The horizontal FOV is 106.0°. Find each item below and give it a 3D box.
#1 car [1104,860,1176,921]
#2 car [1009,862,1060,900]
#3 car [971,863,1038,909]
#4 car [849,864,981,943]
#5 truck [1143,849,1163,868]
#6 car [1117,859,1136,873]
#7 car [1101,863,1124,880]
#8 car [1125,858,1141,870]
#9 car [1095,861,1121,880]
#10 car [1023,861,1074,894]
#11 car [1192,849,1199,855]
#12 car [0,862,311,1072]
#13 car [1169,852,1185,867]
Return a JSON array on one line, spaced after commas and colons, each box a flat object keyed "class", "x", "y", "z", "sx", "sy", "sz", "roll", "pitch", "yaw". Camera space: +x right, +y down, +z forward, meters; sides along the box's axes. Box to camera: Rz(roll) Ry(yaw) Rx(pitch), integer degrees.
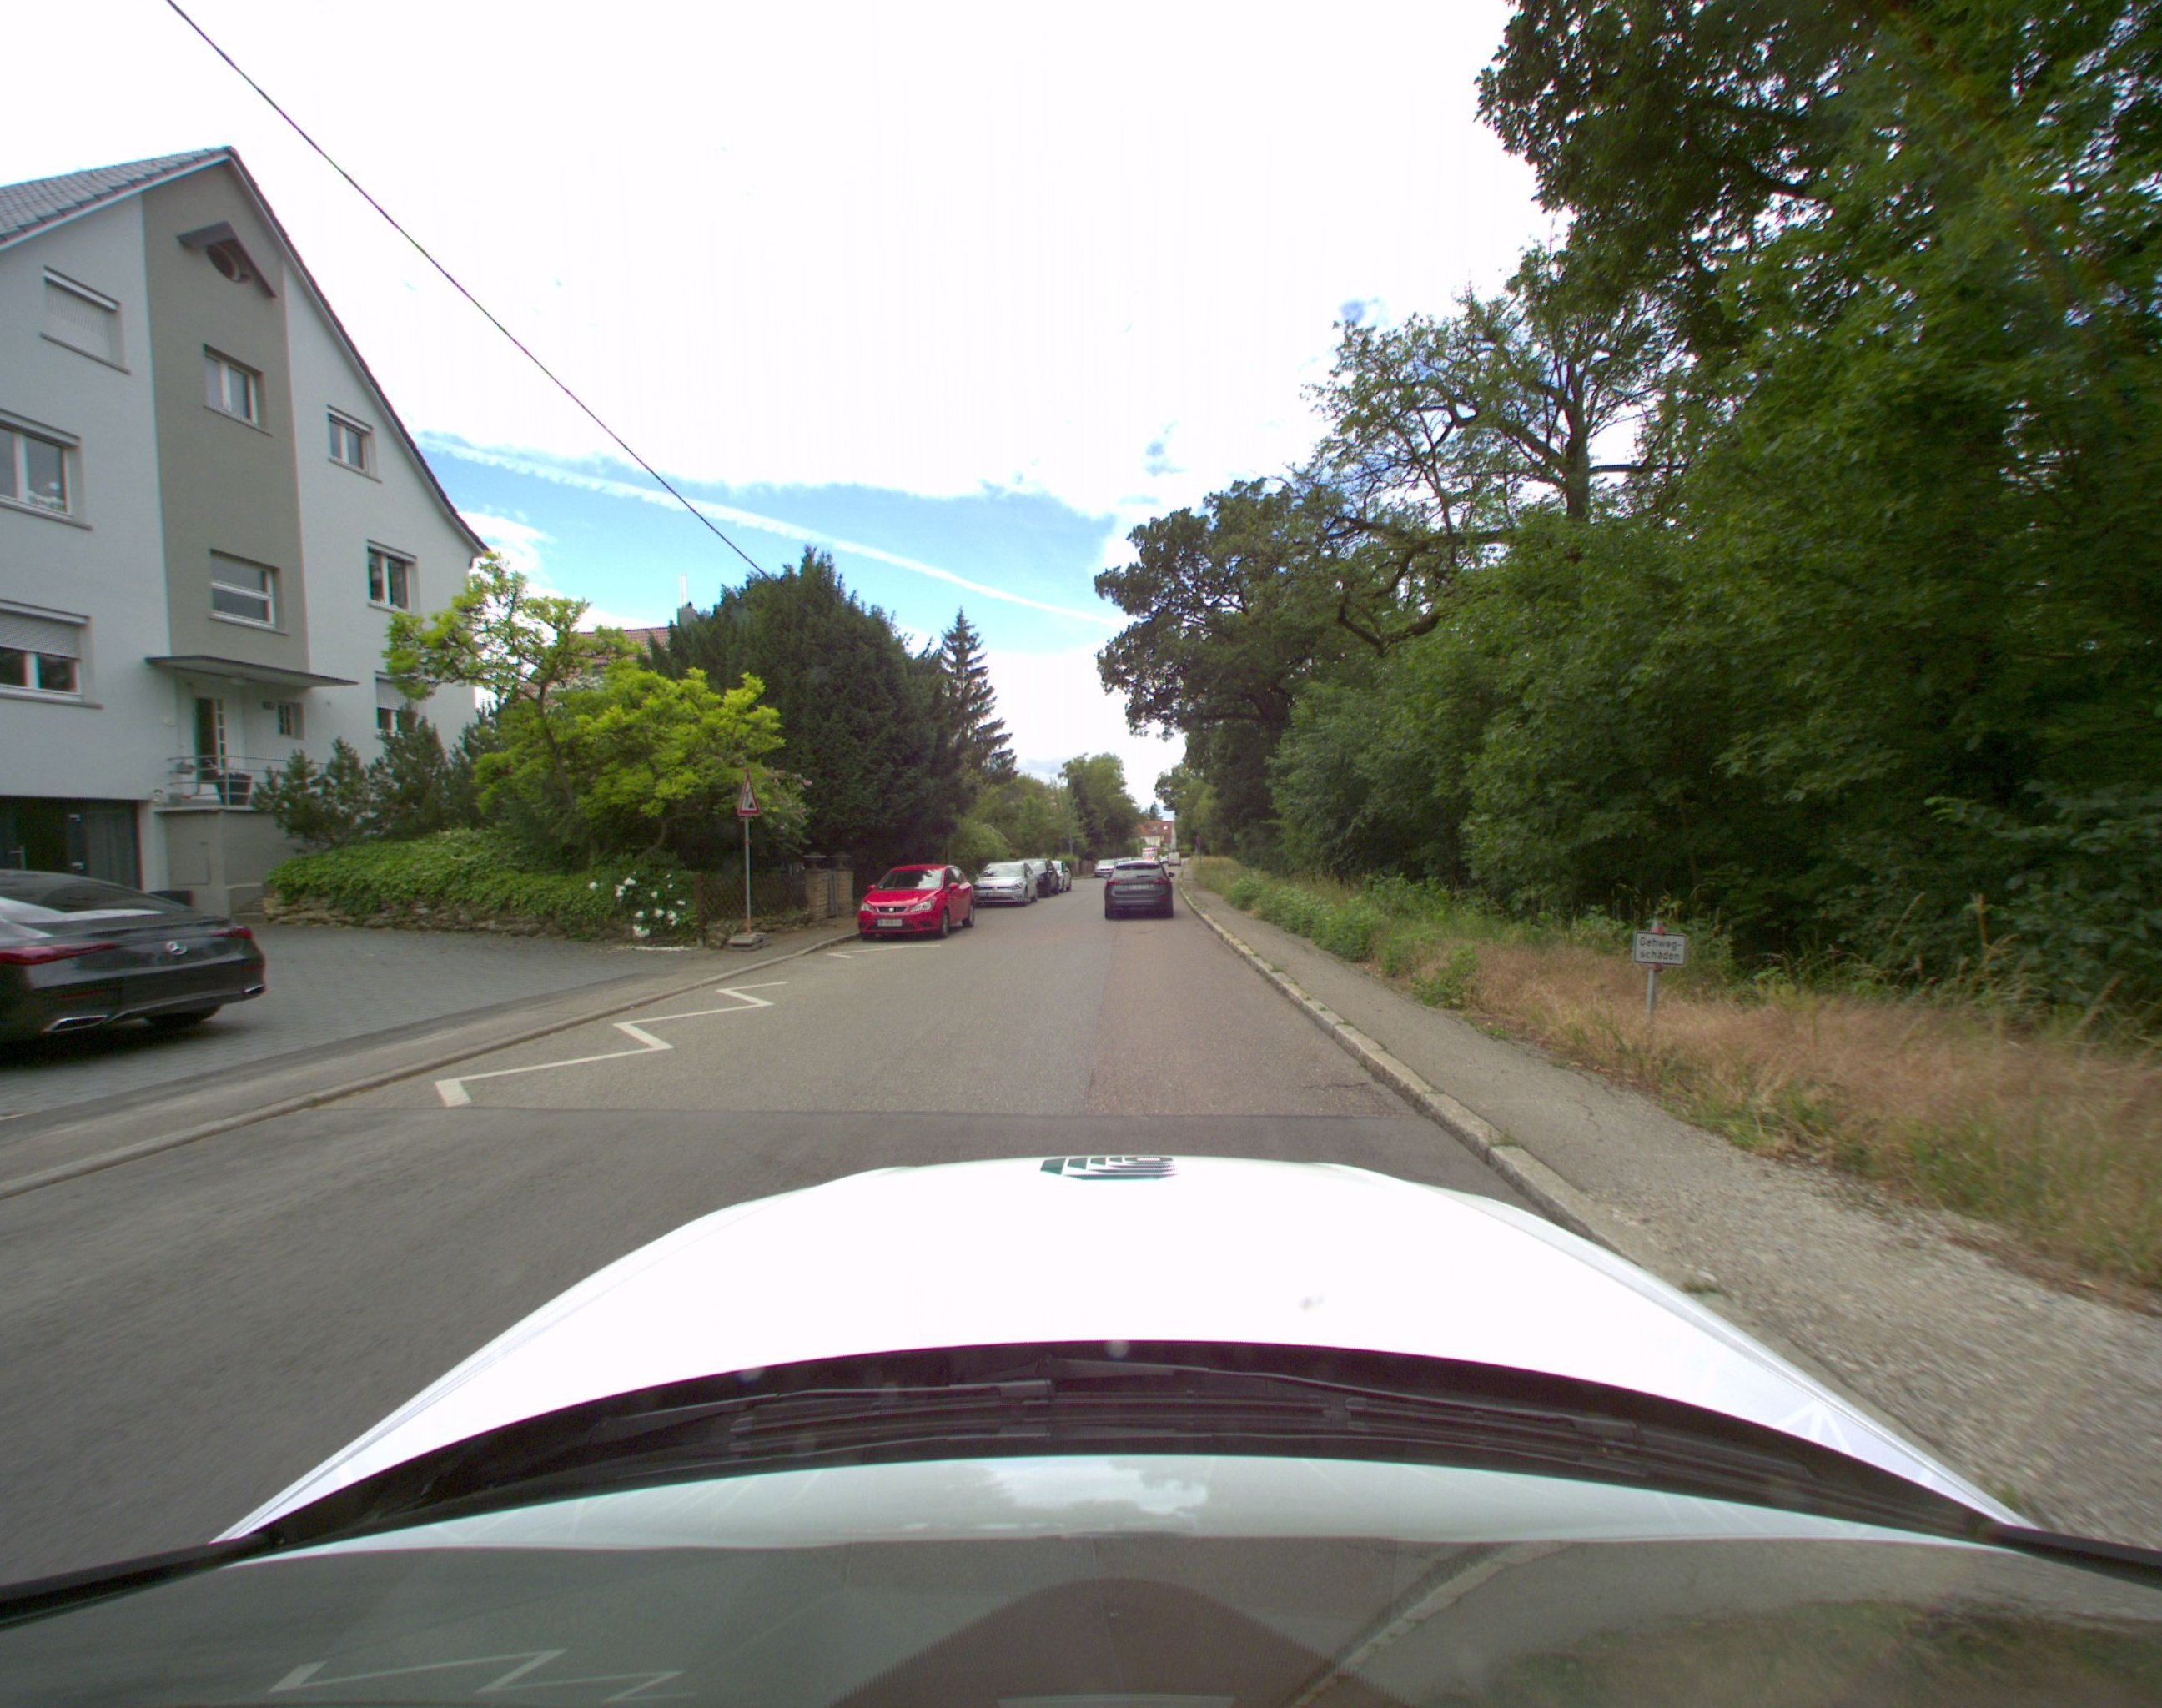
[{"class": "car", "x": 1.478, "y": 0.892, "z": 21.609, "sx": 1.728, "sy": 1.447, "sz": 4.182, "roll": 0, "pitch": 0, "yaw": 2}, {"class": "car", "x": -1.836, "y": 1.063, "z": 33.340, "sx": 1.742, "sy": 1.404, "sz": 4.002, "roll": 0, "pitch": 0, "yaw": 2}, {"class": "car", "x": -2.493, "y": 1.023, "z": 27.410, "sx": 1.742, "sy": 1.404, "sz": 4.002, "roll": 0, "pitch": 0, "yaw": 2}, {"class": "car", "x": -3.313, "y": 0.939, "z": 17.003, "sx": 1.627, "sy": 1.404, "sz": 4.005, "roll": 0, "pitch": 0, "yaw": 5}, {"class": "truck", "x": 11.162, "y": 0.675, "z": 125.441, "sx": 2.749, "sy": 2.793, "sz": 9.286, "roll": -1, "pitch": 0, "yaw": 7}, {"class": "car", "x": 4.737, "y": 1.205, "z": 84.535, "sx": 1.740, "sy": 1.404, "sz": 4.008, "roll": 0, "pitch": 0, "yaw": 7}, {"class": "car", "x": 2.786, "y": 1.482, "z": 71.674, "sx": 1.740, "sy": 1.404, "sz": 4.008, "roll": 0, "pitch": 0, "yaw": 7}, {"class": "car", "x": 6.100, "y": 1.184, "z": 95.195, "sx": 1.740, "sy": 1.404, "sz": 4.008, "roll": 0, "pitch": 0, "yaw": 7}, {"class": "car", "x": 2.165, "y": 1.287, "z": 65.378, "sx": 1.740, "sy": 1.404, "sz": 4.008, "roll": 0, "pitch": 0, "yaw": 7}, {"class": "car", "x": -1.442, "y": 1.060, "z": 37.743, "sx": 1.740, "sy": 1.404, "sz": 4.008, "roll": 0, "pitch": 0, "yaw": 7}, {"class": "car", "x": 28.944, "y": -0.401, "z": 206.016, "sx": 1.726, "sy": 1.447, "sz": 4.005, "roll": 0, "pitch": 0, "yaw": 5}, {"class": "car", "x": -9.417, "y": 0.811, "z": 6.715, "sx": 4.461, "sy": 1.441, "sz": 1.880, "roll": 0, "pitch": 0, "yaw": 3}, {"class": "car", "x": 14.125, "y": 0.825, "z": 120.056, "sx": 2.195, "sy": 2.063, "sz": 6.145, "roll": -1, "pitch": 0, "yaw": 6}]
